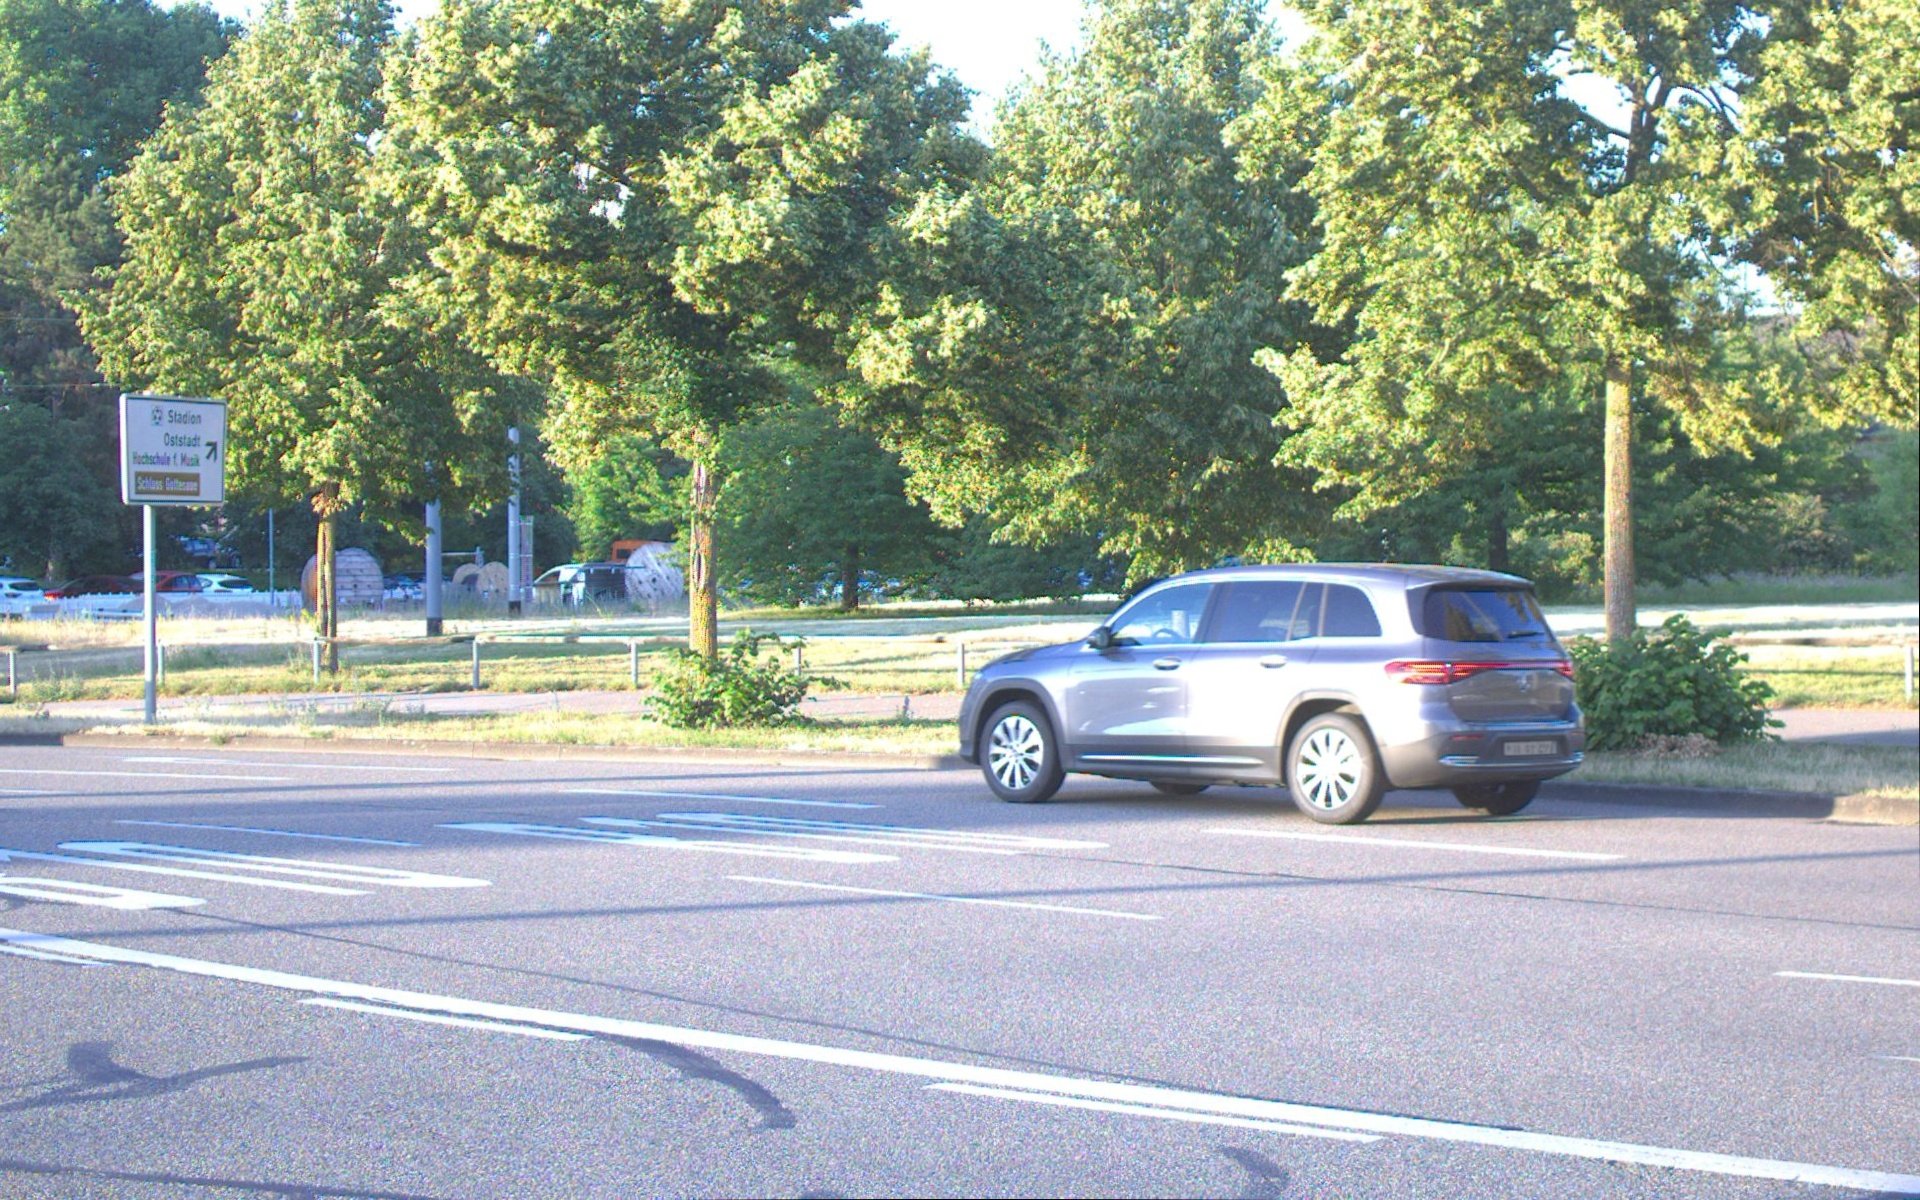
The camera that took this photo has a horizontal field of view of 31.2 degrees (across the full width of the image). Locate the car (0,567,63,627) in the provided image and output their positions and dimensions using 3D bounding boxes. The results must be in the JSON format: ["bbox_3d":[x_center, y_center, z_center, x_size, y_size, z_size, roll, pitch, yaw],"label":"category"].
[{"bbox_3d":[-33.179,-0.105,117.658,4.582,2.007,2.001,-1,1,-9],"label":"car"}]

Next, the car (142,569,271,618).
[{"bbox_3d":[-25.403,-0.216,115.810,3.994,1.598,1.996,0,1,33],"label":"car"}]

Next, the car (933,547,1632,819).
[{"bbox_3d":[2.069,0.477,23.161,1.994,1.632,4.523,-1,1,-42],"label":"car"}]

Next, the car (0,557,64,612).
[{"bbox_3d":[-35.266,-0.563,125.791,4.582,2.007,2.001,-1,1,-9],"label":"car"}]

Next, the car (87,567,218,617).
[{"bbox_3d":[-26.806,-0.272,114.080,3.994,1.598,1.996,0,1,33],"label":"car"}]

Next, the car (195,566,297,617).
[{"bbox_3d":[-26.853,-0.333,129.289,1.994,1.746,4.597,-1,2,-37],"label":"car"}]

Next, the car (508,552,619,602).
[{"bbox_3d":[-13.260,-0.785,114.871,1.734,1.612,3.998,-1,1,-41],"label":"car"}]

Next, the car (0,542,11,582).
[{"bbox_3d":[-42.449,-1.592,145.346,3.988,1.700,2.000,0,1,7],"label":"car"}]
